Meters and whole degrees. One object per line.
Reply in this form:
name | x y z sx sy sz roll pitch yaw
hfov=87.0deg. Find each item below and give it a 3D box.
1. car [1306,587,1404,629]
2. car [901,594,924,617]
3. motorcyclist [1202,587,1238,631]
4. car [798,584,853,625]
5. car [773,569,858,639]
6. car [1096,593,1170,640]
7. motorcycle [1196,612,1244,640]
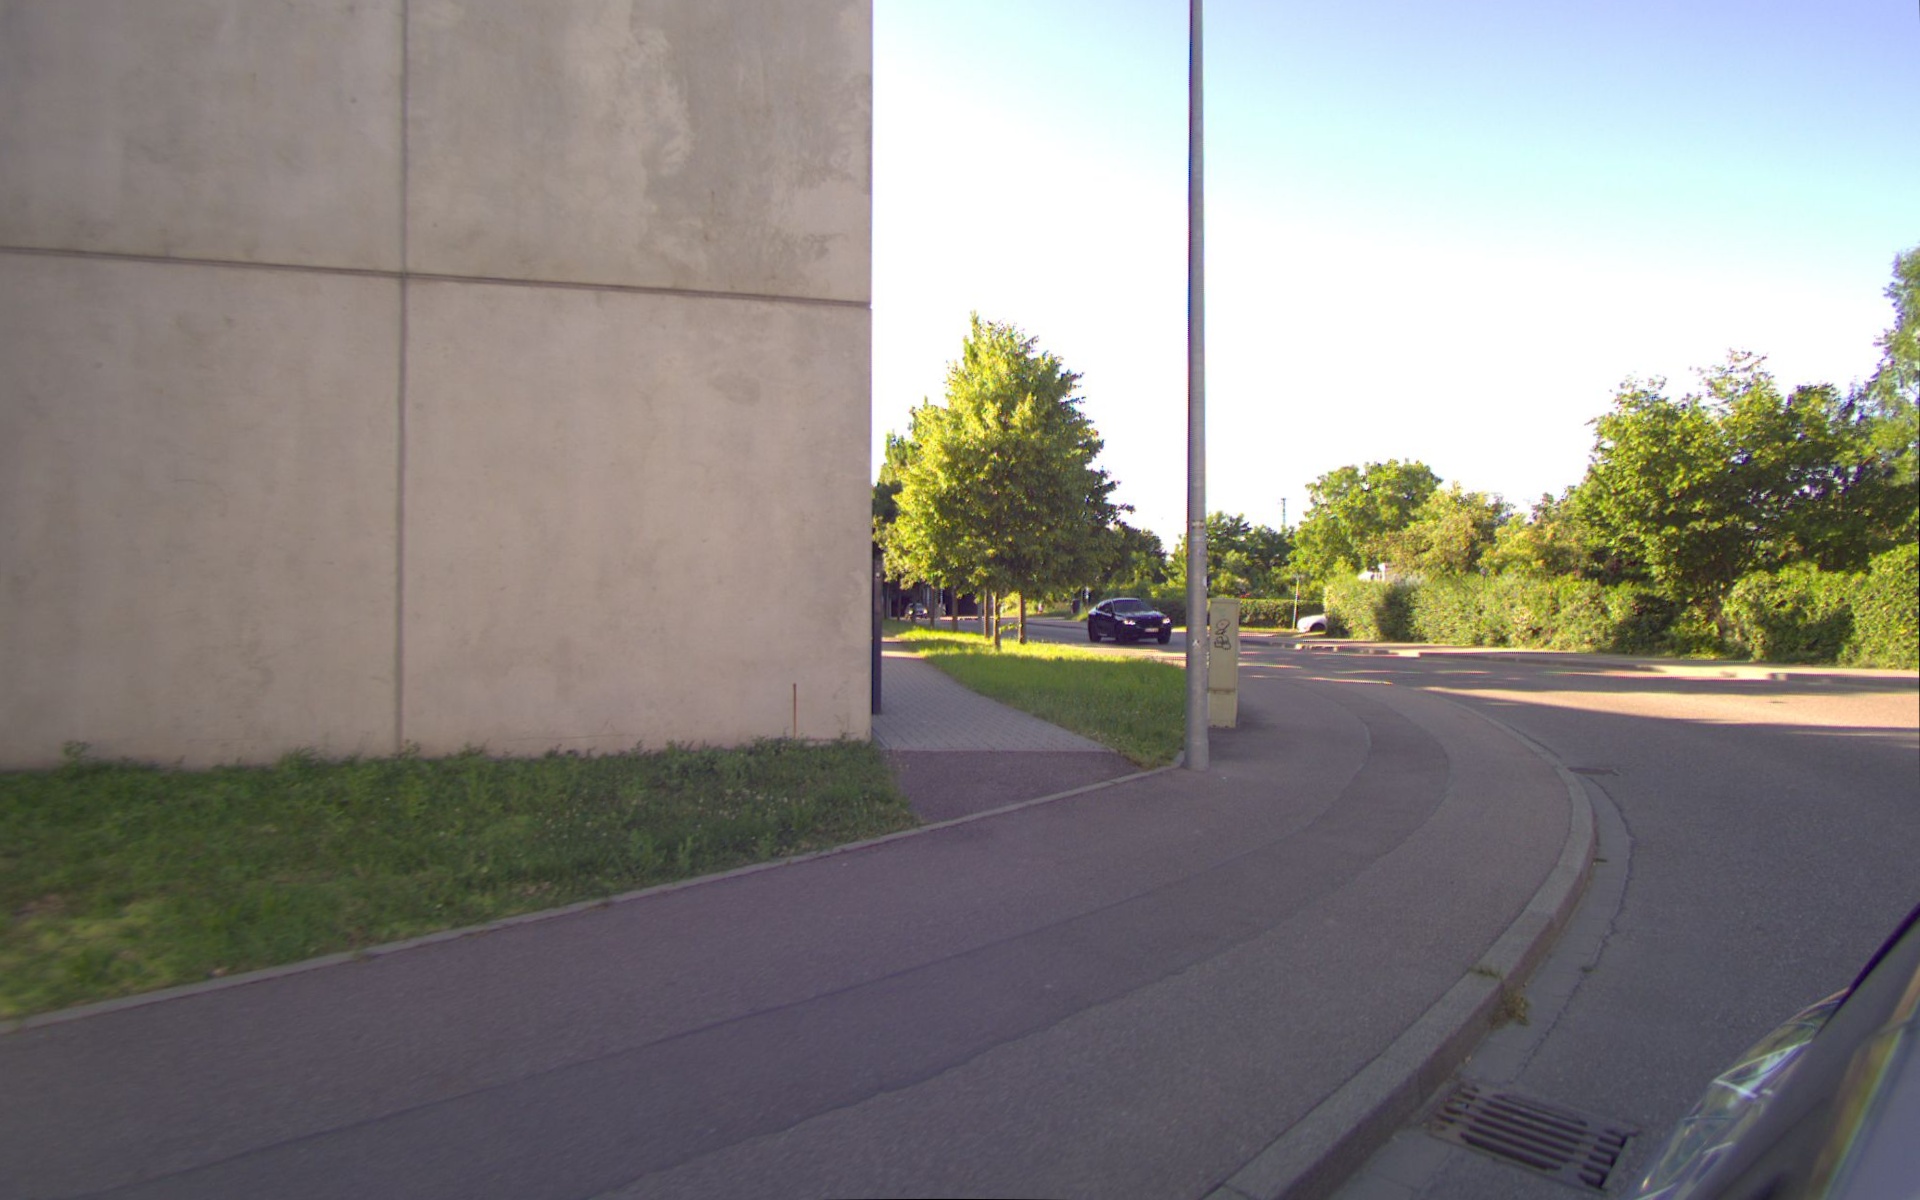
car | 17.506 0.363 45.070 3.950 1.805 1.987 -1 0 21
car | -4.467 0.511 94.513 1.960 2.039 4.003 0 0 -4
motorcyclist | 9.828 0.327 38.336 0.849 1.632 1.244 0 0 -11
car | -5.548 0.157 41.444 1.740 1.503 3.661 1 3 -15
car | -4.287 0.116 29.540 1.860 1.881 4.249 0 0 -16
car | 6.509 0.598 38.511 2.000 1.653 4.613 -1 0 0
motorcycle | 9.830 0.980 38.354 0.818 0.984 2.304 0 0 -11
